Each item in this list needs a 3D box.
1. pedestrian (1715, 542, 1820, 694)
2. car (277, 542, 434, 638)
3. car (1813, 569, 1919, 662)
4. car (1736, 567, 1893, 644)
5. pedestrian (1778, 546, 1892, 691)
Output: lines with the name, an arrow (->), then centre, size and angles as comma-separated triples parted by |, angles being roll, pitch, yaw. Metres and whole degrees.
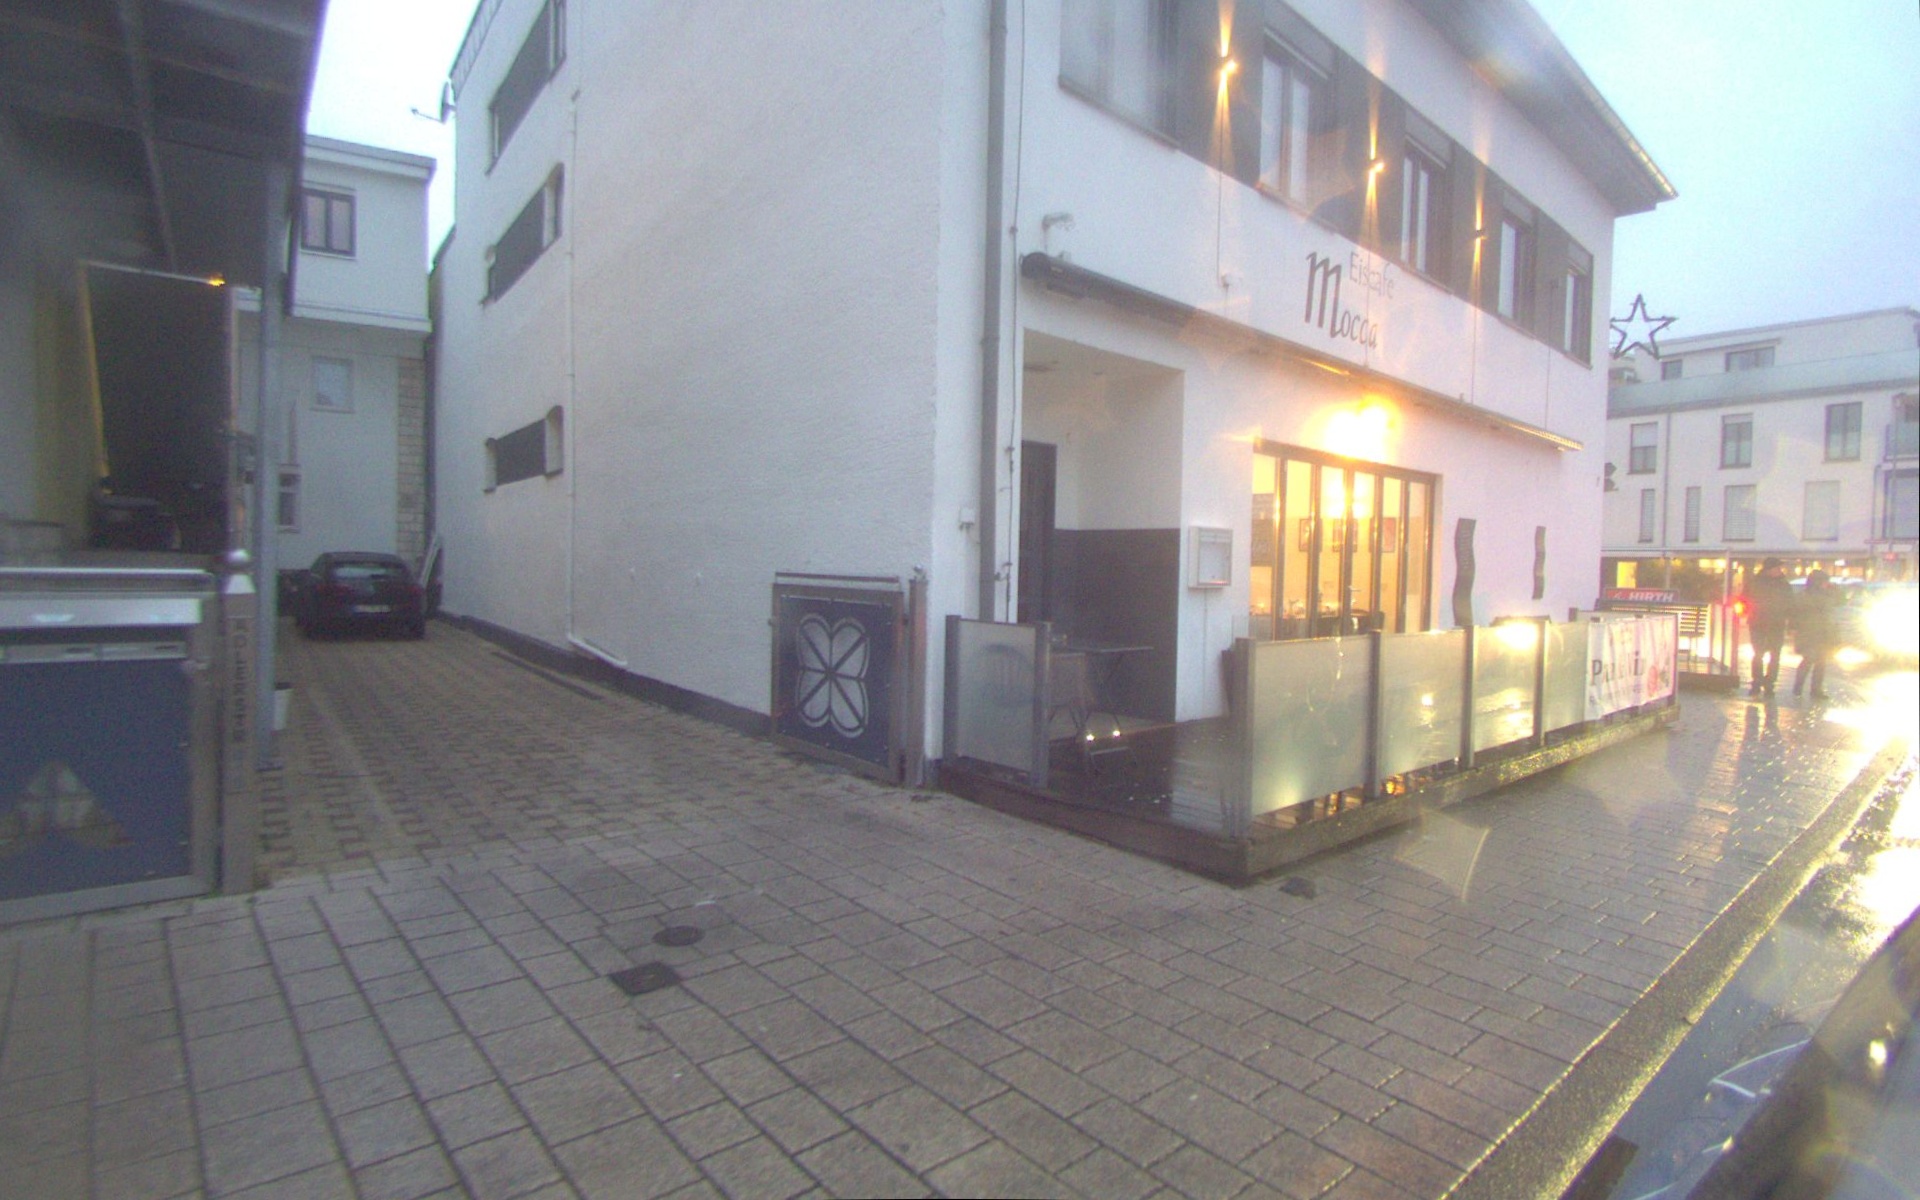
pedestrian -> 10.393, 0.211, 13.048 | 0.696, 1.889, 0.791 | -1, 1, 3
car -> -10.808, -0.222, 17.971 | 1.901, 1.433, 3.962 | 2, 2, -38
car -> 18.082, 0.218, 18.966 | 2.007, 1.497, 4.521 | -1, 2, 24
car -> 22.268, 0.091, 26.353 | 3.920, 1.767, 1.829 | -2, 2, -29
pedestrian -> 11.145, 0.219, 12.913 | 0.754, 1.783, 0.791 | -1, 1, 3
